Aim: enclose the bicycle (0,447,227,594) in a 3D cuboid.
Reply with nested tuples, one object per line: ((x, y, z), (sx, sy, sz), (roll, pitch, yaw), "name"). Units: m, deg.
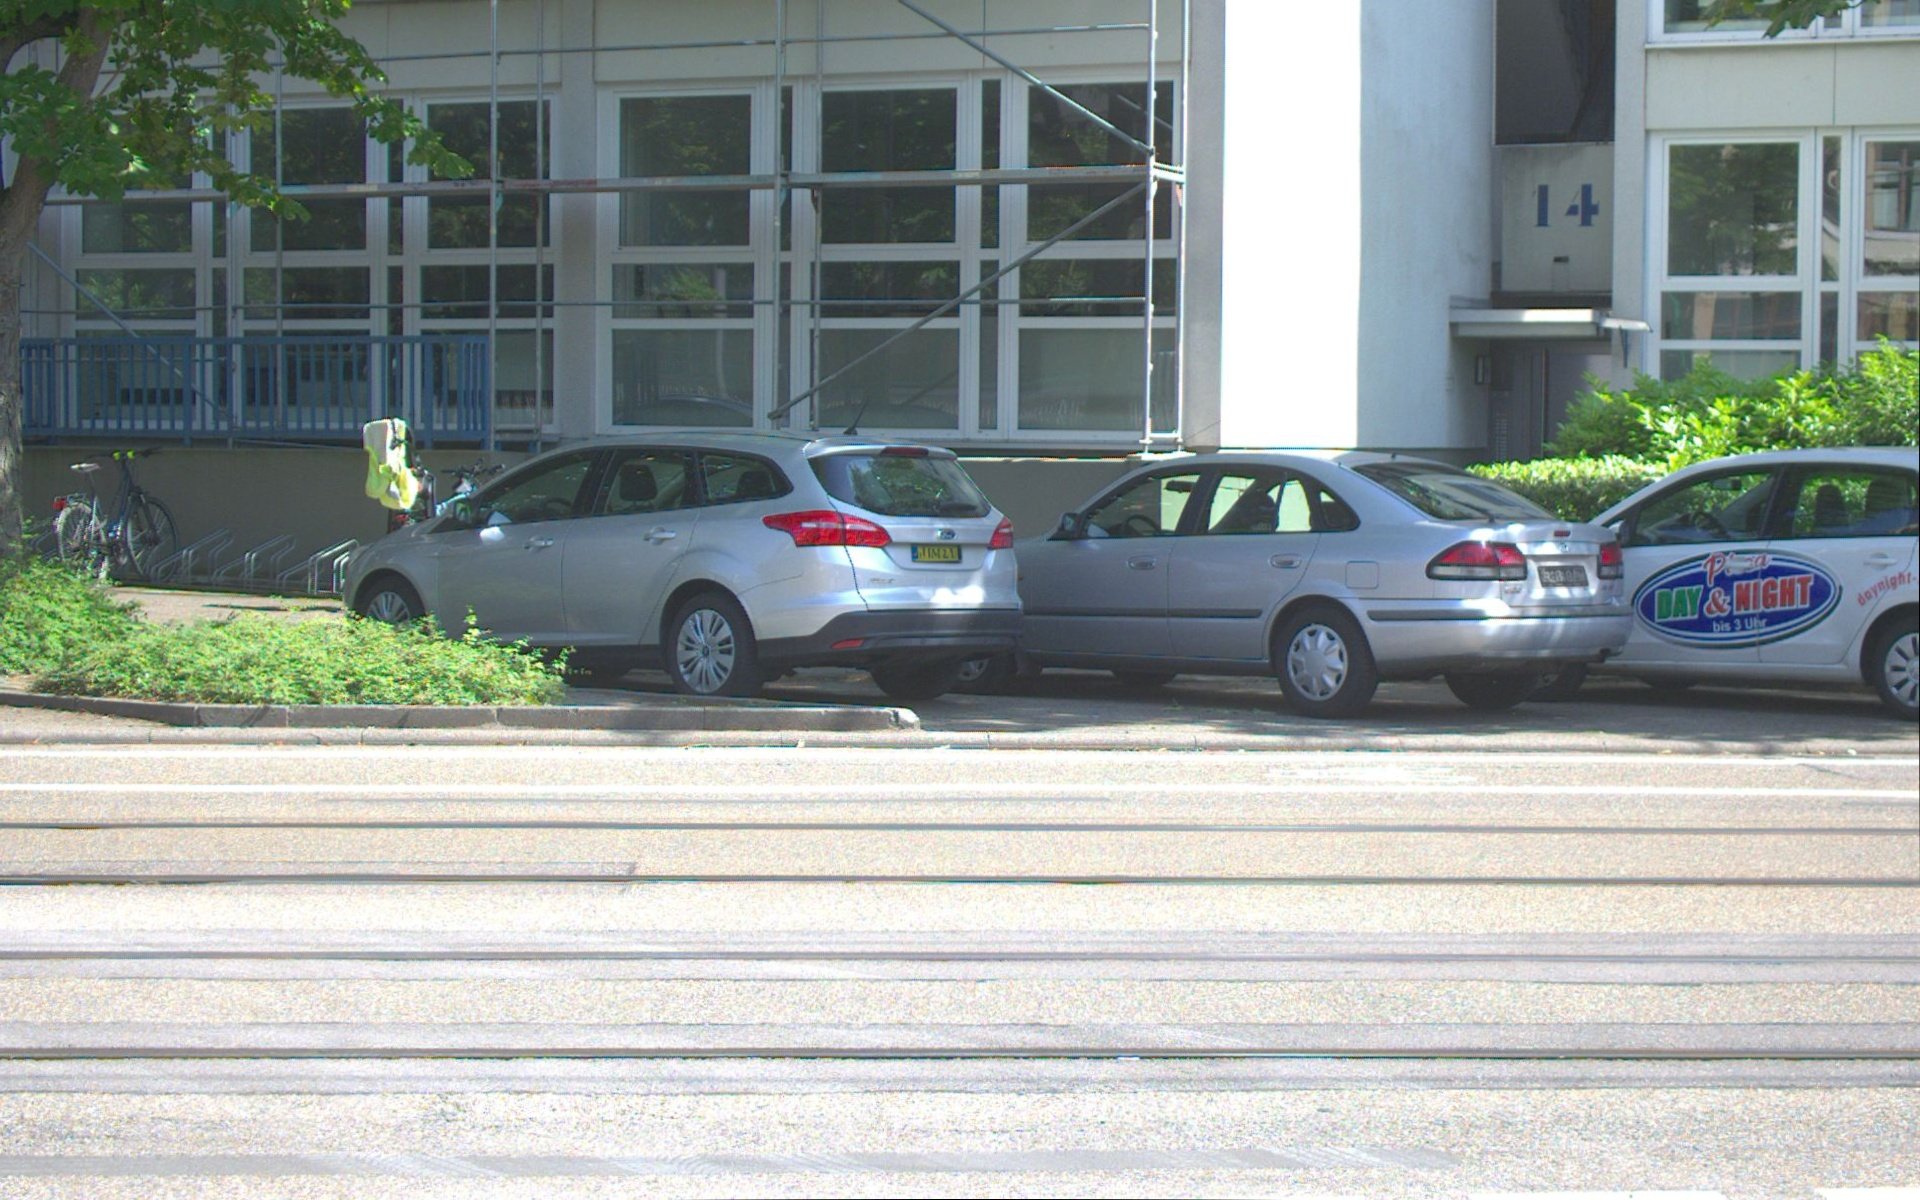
((-6.539, -0.640, 26.673), (0.741, 1.082, 2.202), (1, 3, 15), "bicycle")

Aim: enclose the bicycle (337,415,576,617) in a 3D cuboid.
((-3.765, -0.654, 25.874), (0.662, 1.448, 2.087), (2, 3, 28), "bicycle")

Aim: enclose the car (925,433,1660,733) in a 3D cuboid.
((1.781, -0.173, 19.300), (3.943, 1.481, 1.609), (3, 4, 44), "car")

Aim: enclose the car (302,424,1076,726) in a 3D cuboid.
((-1.626, -0.225, 19.416), (4.432, 1.481, 1.780), (3, 4, 42), "car")

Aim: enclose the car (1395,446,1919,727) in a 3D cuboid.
((4.576, -0.133, 19.673), (3.942, 1.481, 1.609), (2, 3, 43), "car")
